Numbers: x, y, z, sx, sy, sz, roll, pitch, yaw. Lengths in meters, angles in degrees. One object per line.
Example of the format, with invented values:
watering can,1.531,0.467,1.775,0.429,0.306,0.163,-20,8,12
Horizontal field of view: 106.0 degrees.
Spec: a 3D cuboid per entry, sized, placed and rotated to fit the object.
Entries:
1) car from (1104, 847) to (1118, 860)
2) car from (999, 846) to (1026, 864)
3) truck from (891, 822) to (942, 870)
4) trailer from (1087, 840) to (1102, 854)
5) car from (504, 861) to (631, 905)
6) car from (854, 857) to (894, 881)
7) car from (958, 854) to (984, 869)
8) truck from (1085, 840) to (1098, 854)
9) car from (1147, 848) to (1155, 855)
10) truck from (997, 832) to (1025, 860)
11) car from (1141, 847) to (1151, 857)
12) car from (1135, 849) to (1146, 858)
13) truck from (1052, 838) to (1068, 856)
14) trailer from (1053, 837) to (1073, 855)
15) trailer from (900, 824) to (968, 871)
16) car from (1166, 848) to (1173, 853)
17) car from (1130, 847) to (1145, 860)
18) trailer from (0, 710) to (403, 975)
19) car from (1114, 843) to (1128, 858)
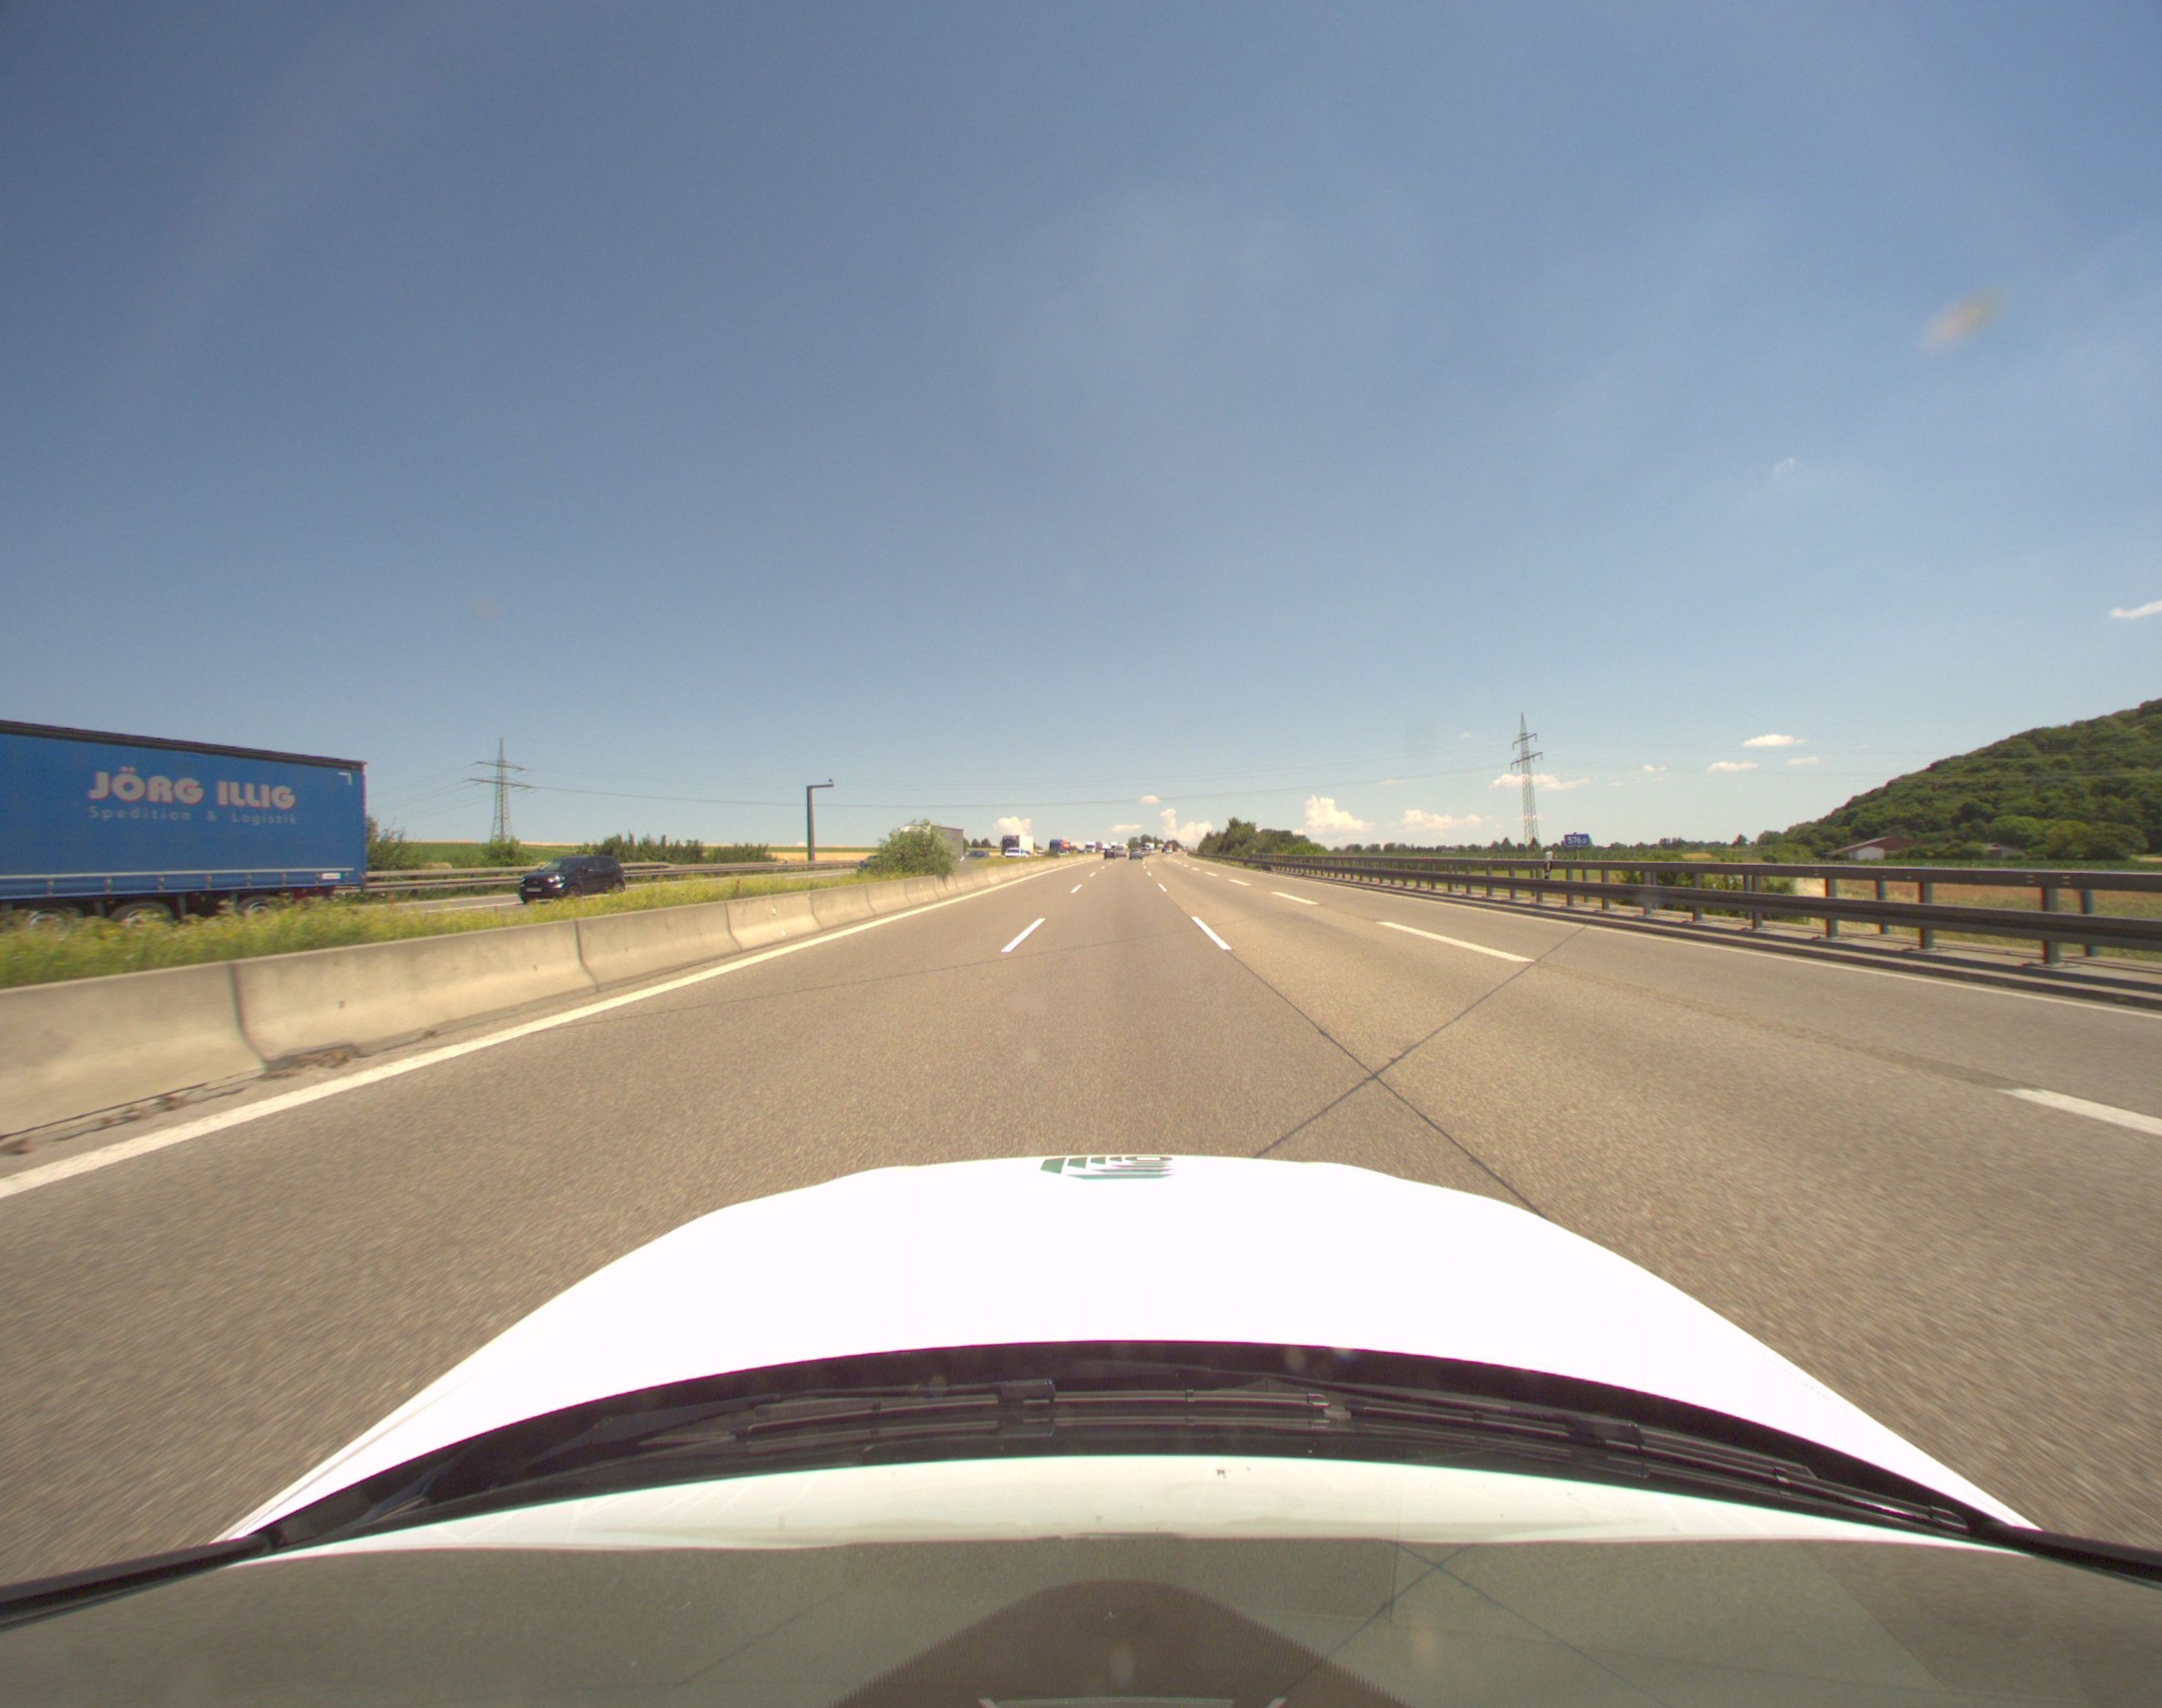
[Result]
car,4.691,-0.049,126.258,1.838,1.861,4.214,-1,1,7
car,-7.214,0.114,86.462,1.985,1.904,5.682,0,0,4
truck,-15.440,-0.690,77.016,3.118,4.328,6.154,0,0,4
trailer,4.160,-2.136,249.748,2.777,4.105,14.040,-1,0,8
car,-18.277,0.989,29.266,1.651,1.385,4.353,0,0,2
car,-13.011,0.917,51.356,1.619,1.404,3.729,0,0,-1
car,-10.935,0.707,81.311,1.835,1.460,4.494,0,0,2
truck,3.203,-2.110,243.105,2.836,4.027,6.530,-1,0,8
car,18.073,-0.634,209.328,1.983,1.552,4.008,1,1,7
truck,-11.096,-1.239,129.589,3.211,4.206,7.136,-1,0,5
car,14.022,-0.440,176.587,1.985,1.904,4.002,-1,-2,2
car,11.598,-0.136,158.021,1.984,1.585,4.005,-1,-1,5
truck,-4.676,-1.615,180.053,2.762,3.937,6.147,-1,0,5
trailer,-4.004,-1.666,186.357,2.824,3.958,13.752,0,0,6
trailer,-14.803,-0.610,83.823,3.109,4.324,14.564,0,0,5
car,26.147,-0.912,240.167,1.892,1.442,4.008,-1,0,7
car,8.169,-0.071,117.951,1.984,1.750,4.005,0,-3,6
trailer,-18.678,-0.190,12.967,3.148,4.194,14.389,0,0,3
car,7.473,-0.664,151.635,2.169,2.625,4.679,0,-3,6
